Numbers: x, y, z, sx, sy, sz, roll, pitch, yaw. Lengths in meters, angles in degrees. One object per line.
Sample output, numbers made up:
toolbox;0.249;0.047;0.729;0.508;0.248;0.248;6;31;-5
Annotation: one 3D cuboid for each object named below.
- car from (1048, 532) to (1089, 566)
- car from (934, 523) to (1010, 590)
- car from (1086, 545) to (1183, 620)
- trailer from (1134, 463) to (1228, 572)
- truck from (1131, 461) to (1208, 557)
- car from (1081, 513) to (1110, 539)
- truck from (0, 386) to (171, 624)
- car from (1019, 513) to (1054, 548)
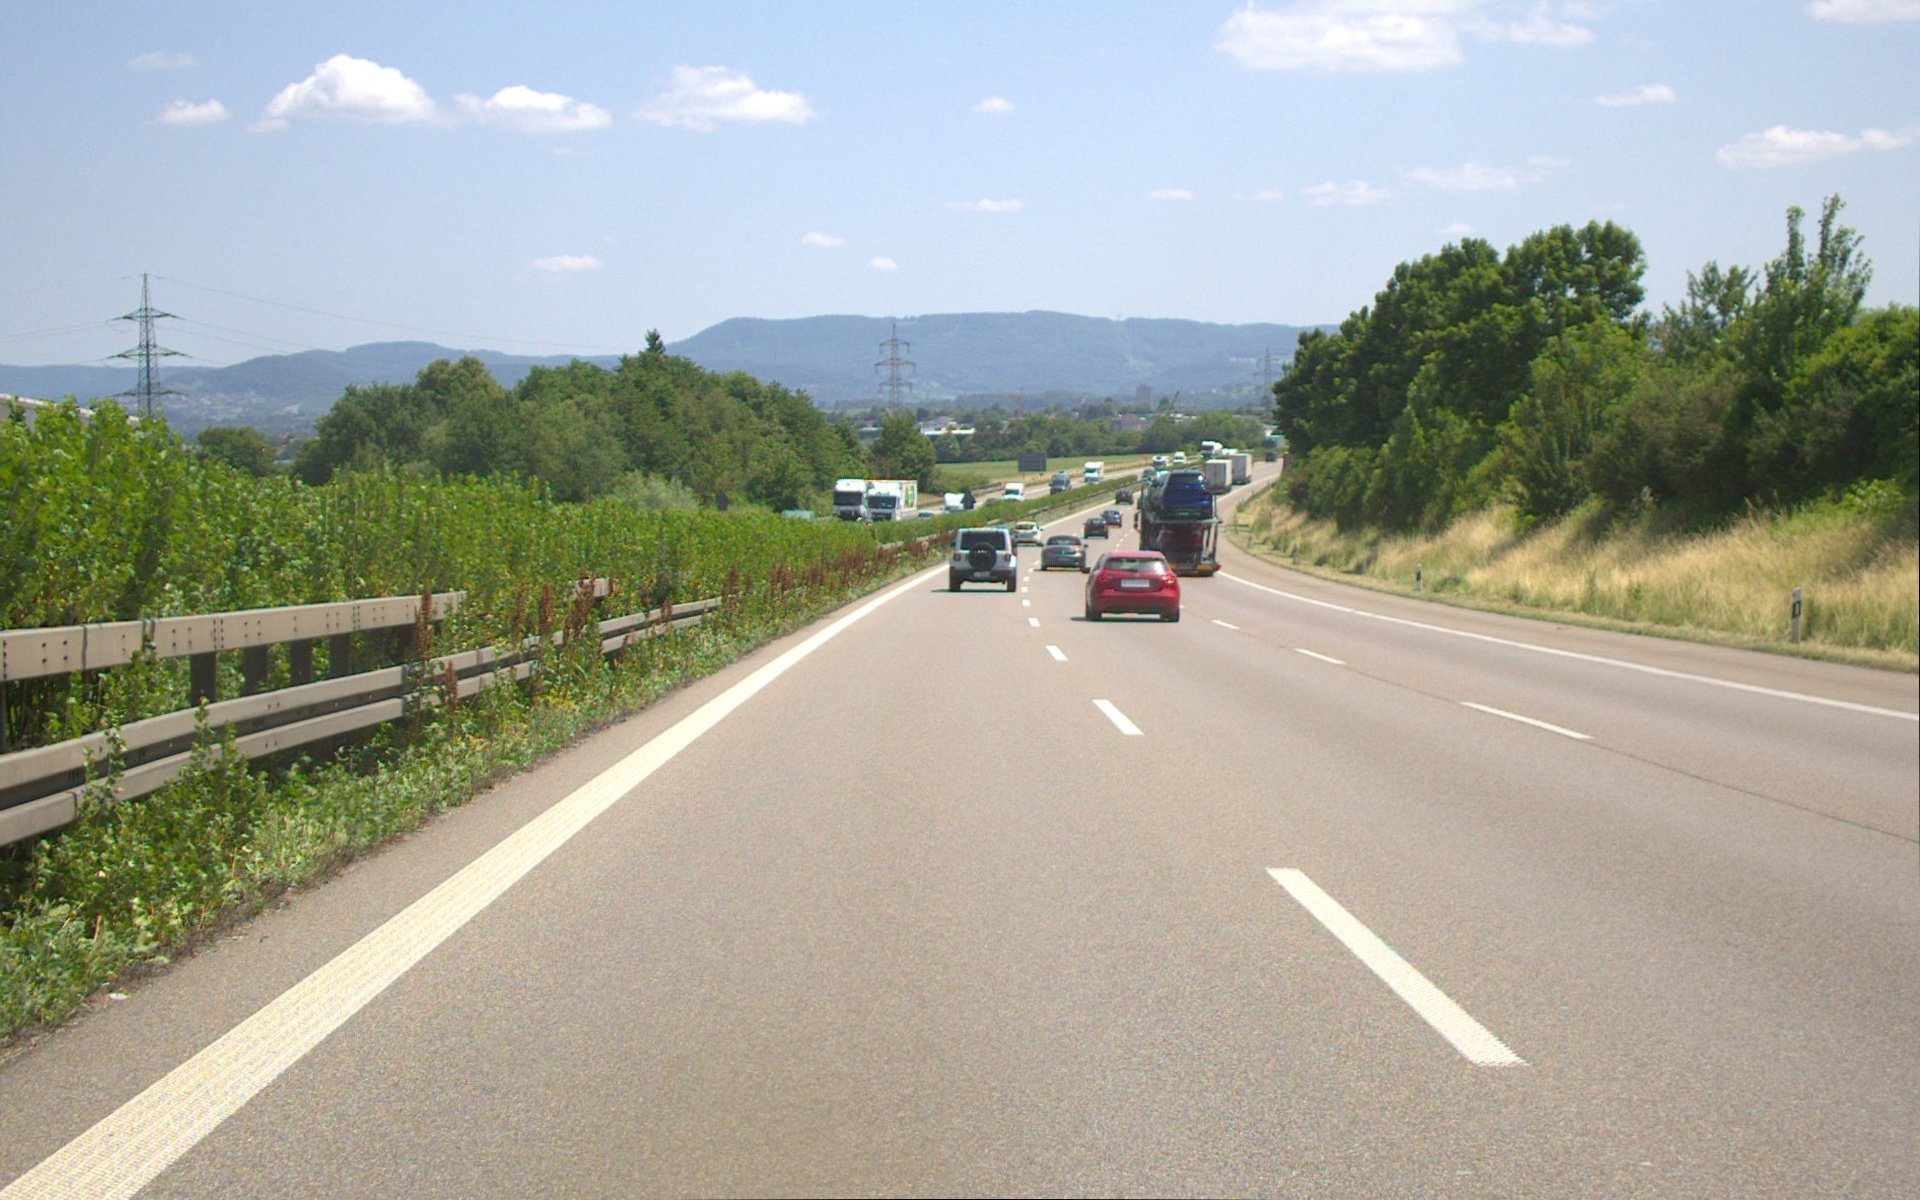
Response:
car;4.354;-2.050;138.058;1.452;1.263;3.539;1;2;-1
car;0.326;-1.288;100.190;2.083;1.823;4.754;1;2;-1
car;3.504;-0.371;69.481;1.686;1.374;3.949;1;2;-1
trailer;8.576;-3.349;135.170;2.855;3.979;15.398;1;2;1
truck;8.684;-3.818;142.849;2.754;3.839;6.645;1;2;0
car;9.191;-5.007;233.346;1.636;1.699;3.400;1;2;7
truck;-17.745;-1.718;62.879;2.975;4.000;16.829;1;1;-1
car;4.576;-4.194;205.570;1.698;2.006;3.821;1;2;7
